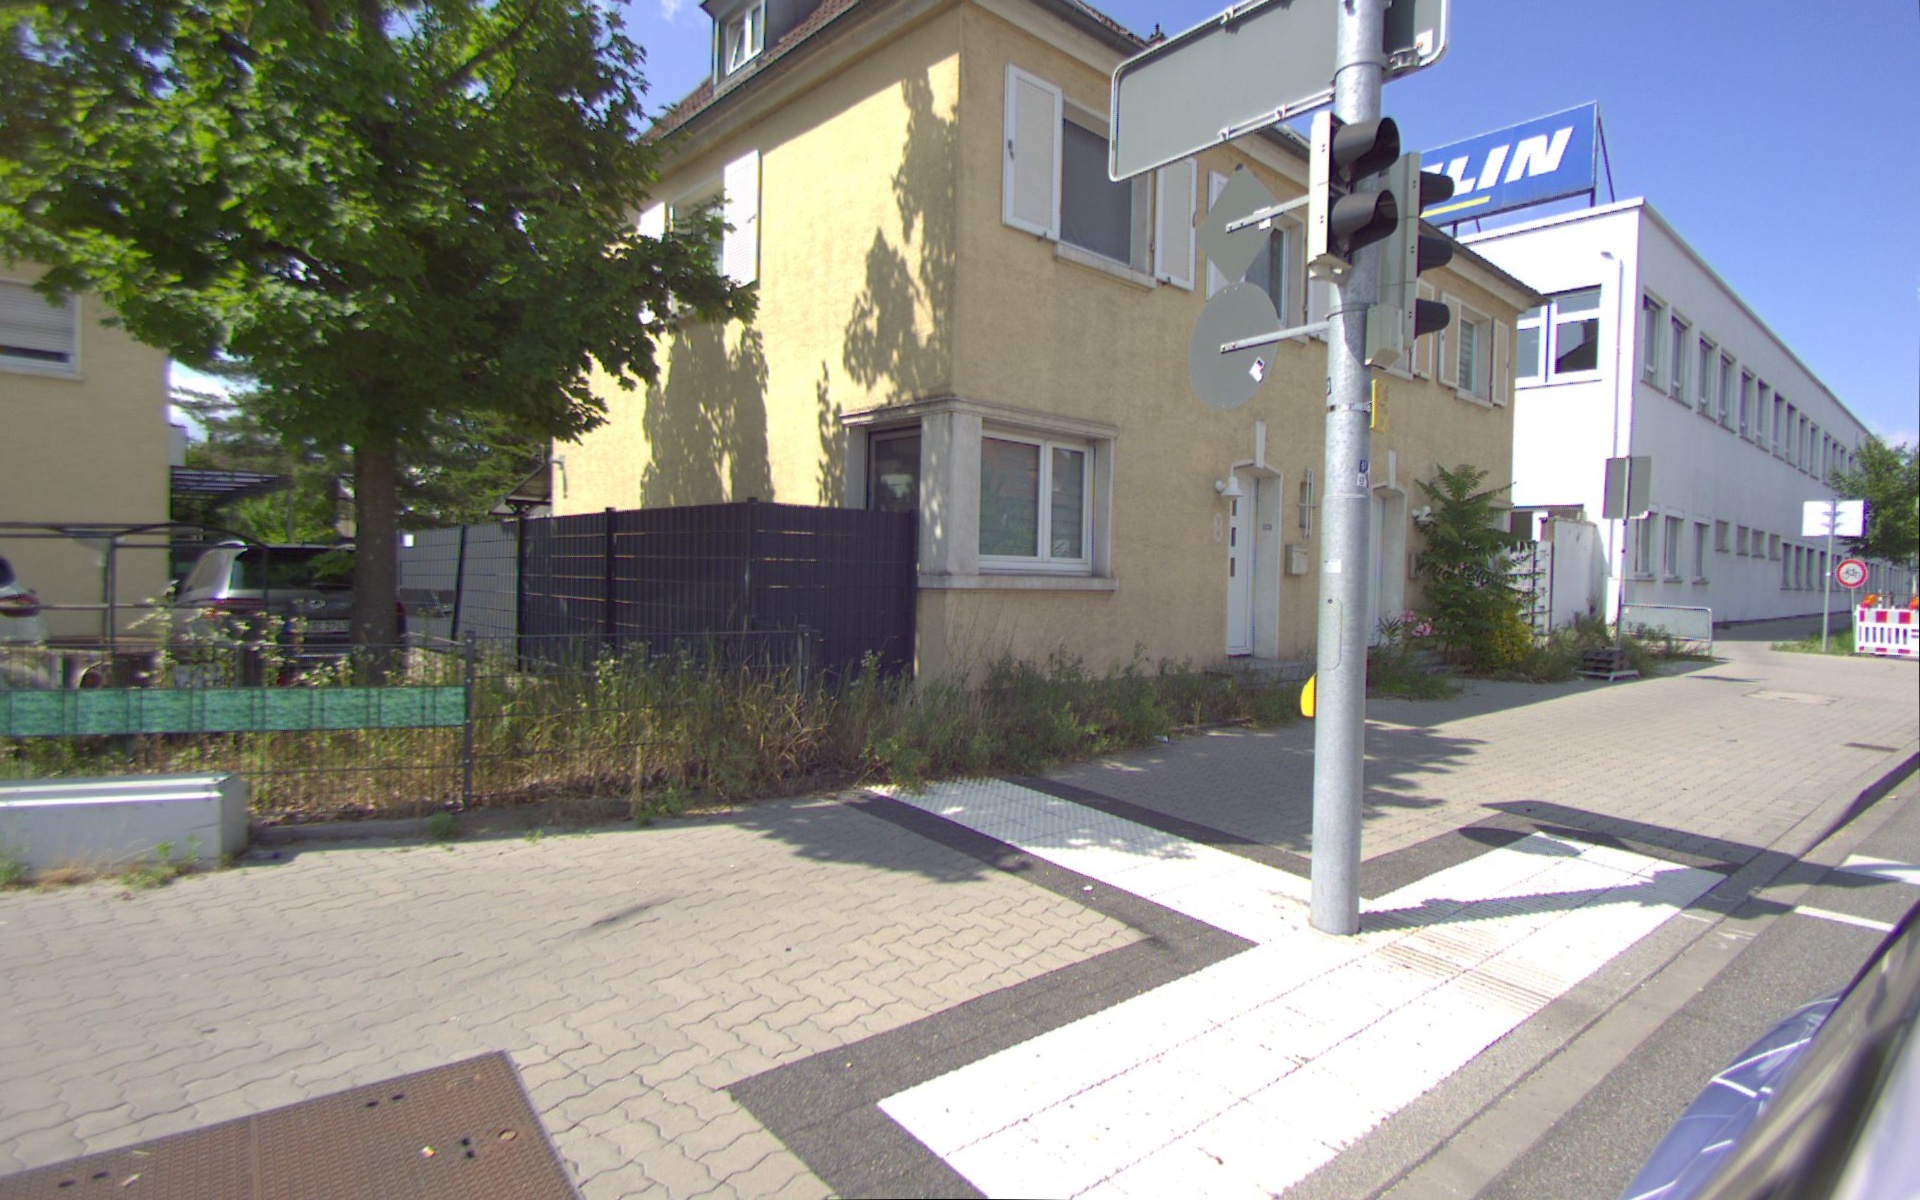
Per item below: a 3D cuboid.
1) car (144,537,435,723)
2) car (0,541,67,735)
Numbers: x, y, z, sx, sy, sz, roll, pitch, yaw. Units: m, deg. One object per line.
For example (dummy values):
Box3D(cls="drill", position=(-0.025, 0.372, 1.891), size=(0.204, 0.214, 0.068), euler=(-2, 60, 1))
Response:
Box3D(cls="car", position=(-7.305, 0.206, 10.859), size=(4.106, 1.617, 1.772), euler=(2, 1, 44))
Box3D(cls="car", position=(-9.807, 0.271, 9.537), size=(4.106, 1.617, 1.772), euler=(2, 1, 44))
